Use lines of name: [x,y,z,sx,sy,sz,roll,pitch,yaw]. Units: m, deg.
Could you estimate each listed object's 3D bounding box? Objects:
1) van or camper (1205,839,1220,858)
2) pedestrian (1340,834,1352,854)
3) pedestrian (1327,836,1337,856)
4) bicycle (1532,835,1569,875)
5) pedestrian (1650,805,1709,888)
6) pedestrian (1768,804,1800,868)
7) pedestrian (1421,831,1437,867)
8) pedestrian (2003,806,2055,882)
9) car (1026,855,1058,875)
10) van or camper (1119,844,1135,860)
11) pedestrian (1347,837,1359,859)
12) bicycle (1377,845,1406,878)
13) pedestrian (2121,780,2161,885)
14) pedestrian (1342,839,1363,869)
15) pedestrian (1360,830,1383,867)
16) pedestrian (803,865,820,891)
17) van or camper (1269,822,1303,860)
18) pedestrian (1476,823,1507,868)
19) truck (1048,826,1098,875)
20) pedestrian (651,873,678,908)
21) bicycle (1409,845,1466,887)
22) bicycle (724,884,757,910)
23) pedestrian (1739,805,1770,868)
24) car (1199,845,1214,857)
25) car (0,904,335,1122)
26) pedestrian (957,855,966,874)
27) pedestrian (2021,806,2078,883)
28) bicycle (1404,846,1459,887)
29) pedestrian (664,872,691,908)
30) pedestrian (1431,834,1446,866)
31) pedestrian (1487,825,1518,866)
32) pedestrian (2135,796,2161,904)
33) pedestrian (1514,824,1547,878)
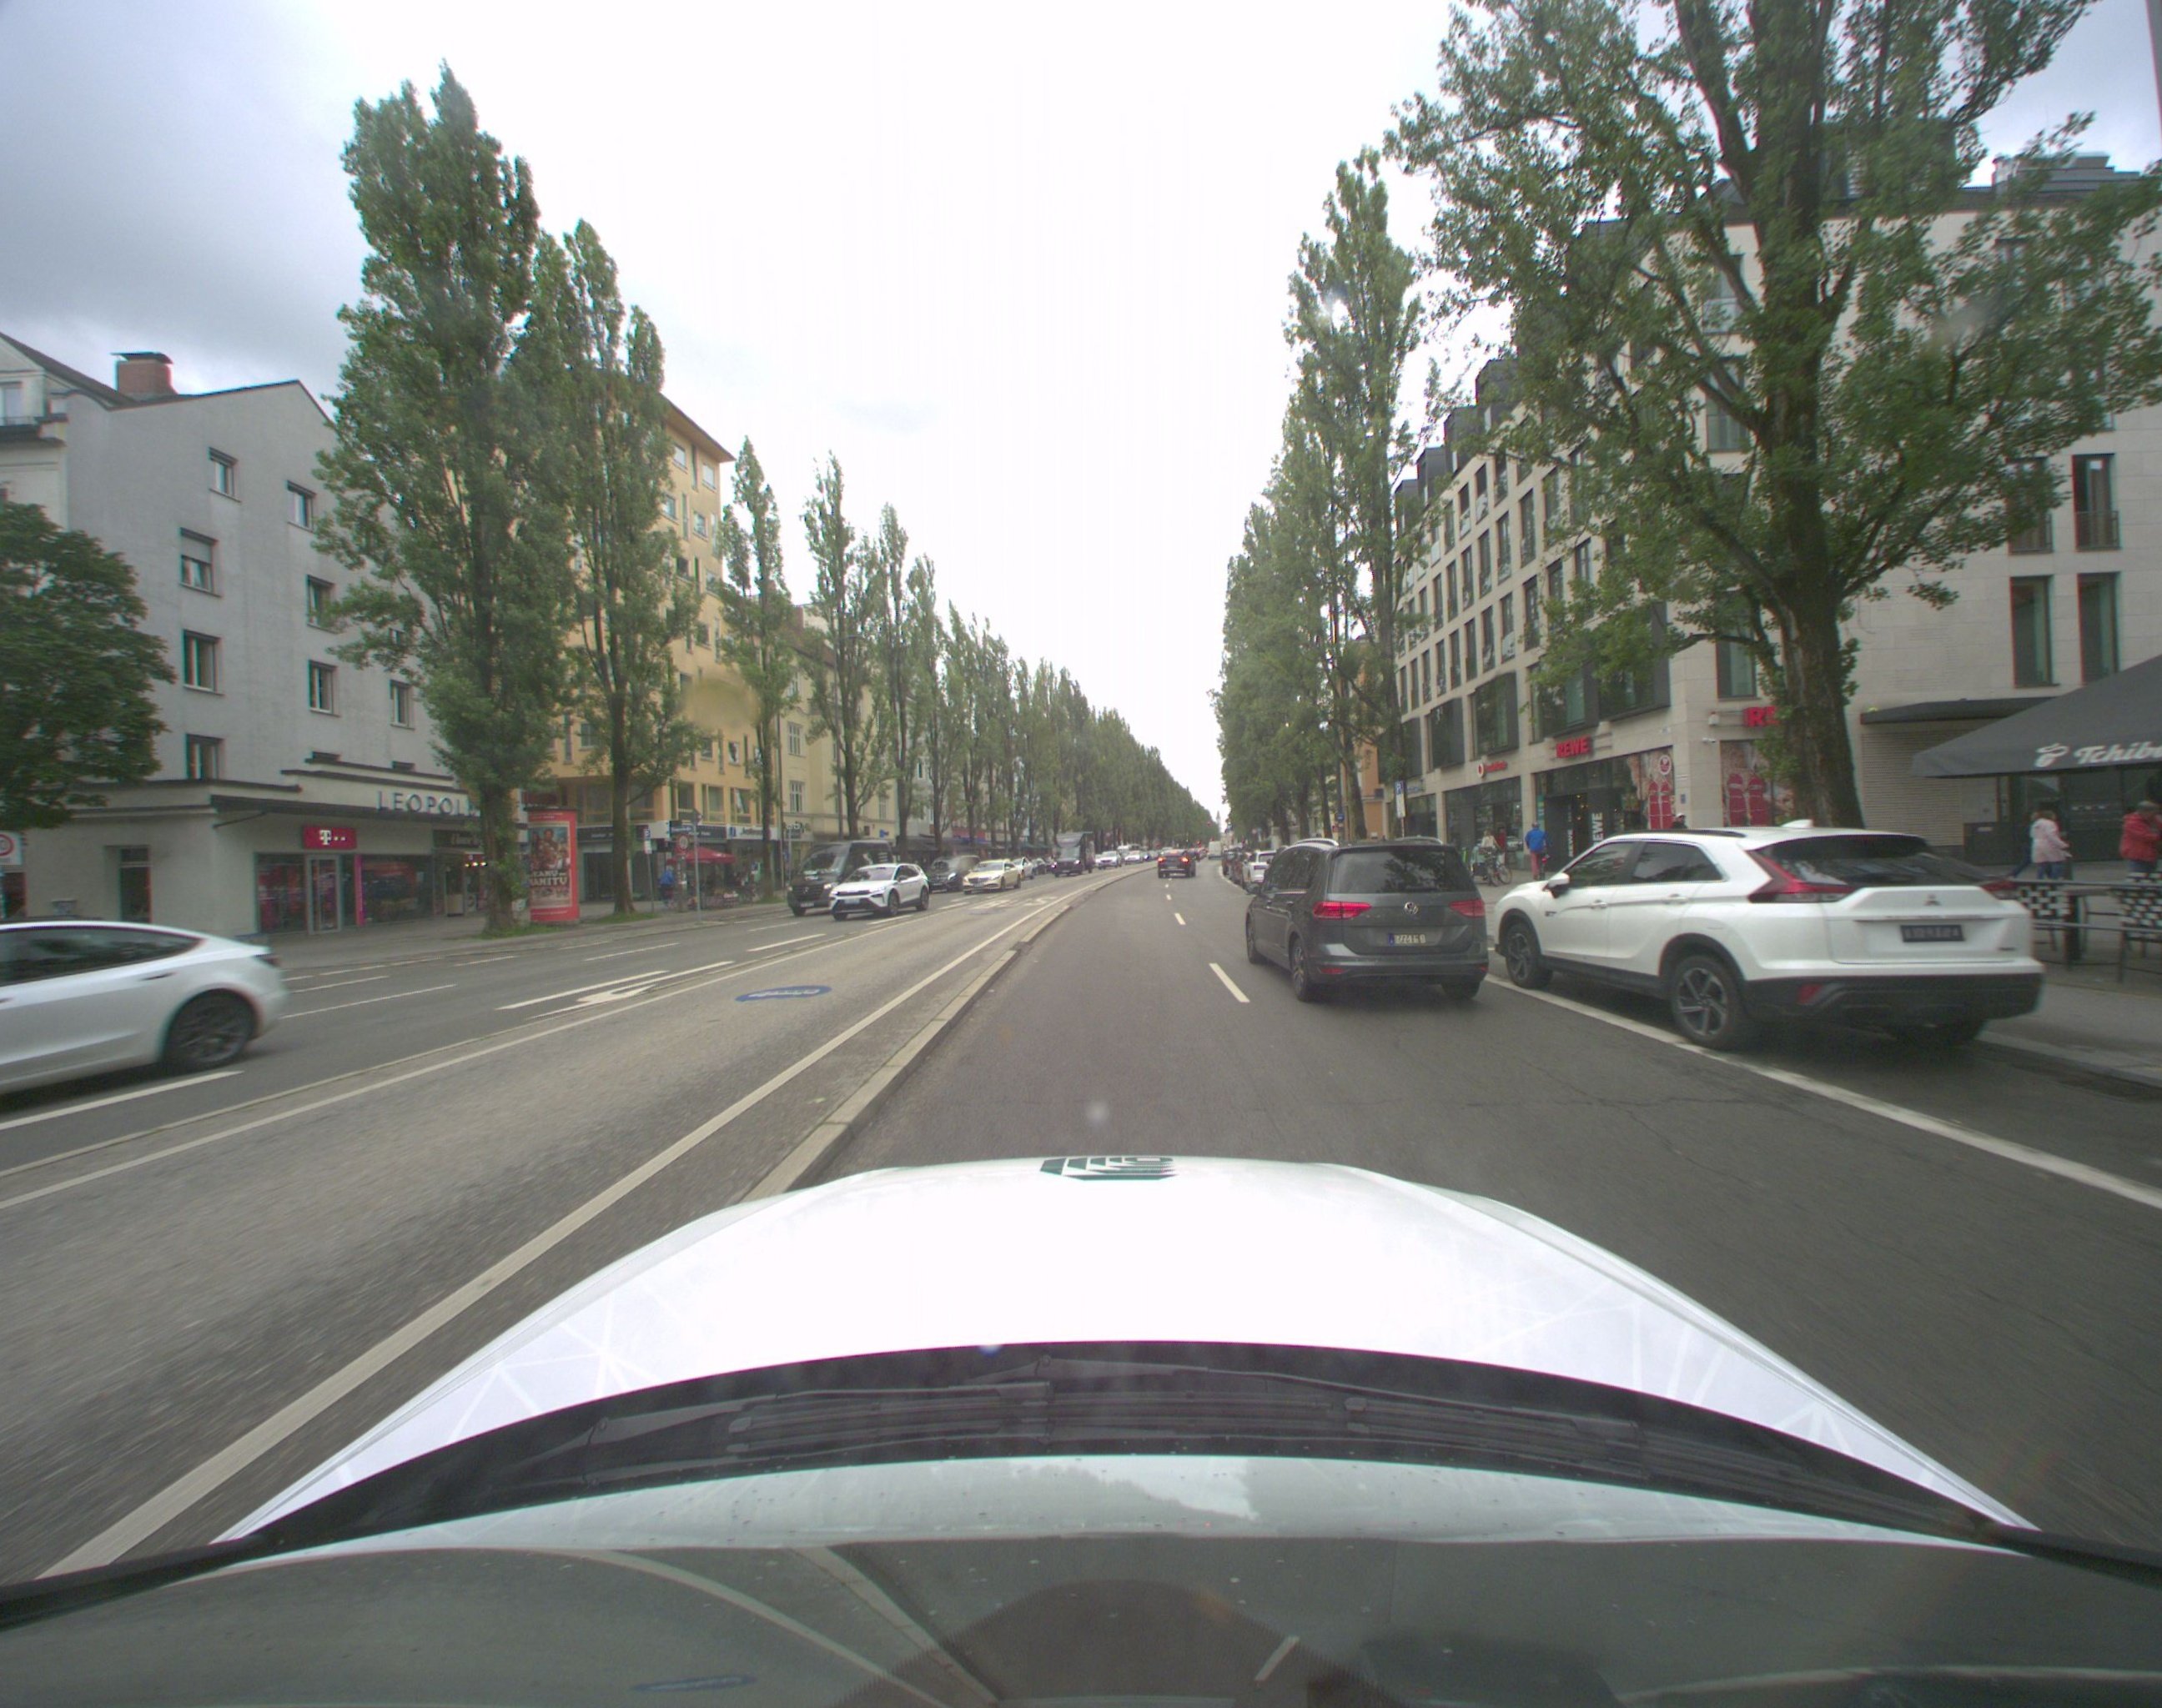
van or camper: [18.800,-0.739,116.291,2.022,2.475,4.011,-3,-1,10]
pedestrian: [21.778,-0.826,66.896,0.815,1.613,0.782,-3,0,13]
pedestrian: [20.767,-0.675,67.420,0.668,1.613,0.642,-3,0,13]
bicycle: [14.584,0.026,25.355,0.447,1.172,1.774,-3,0,13]
pedestrian: [14.386,-0.184,19.588,0.644,1.924,0.926,-4,0,2]
pedestrian: [19.684,-0.493,22.802,0.465,1.751,0.428,-3,0,6]
pedestrian: [16.324,-0.245,38.196,0.544,1.638,0.562,-3,0,34]
pedestrian: [20.648,-0.213,17.742,0.502,1.624,0.502,-1,-1,14]
car: [-3.497,0.939,73.407,1.850,1.629,4.180,-3,0,10]
van or camper: [7.303,-0.290,129.863,1.981,2.458,4.263,-3,0,10]
pedestrian: [20.204,-0.460,60.406,0.724,1.626,0.809,-3,0,20]
bicycle: [12.002,0.268,31.452,0.540,1.189,1.464,-3,0,39]
pedestrian: [16.866,-0.330,12.856,0.551,1.624,0.501,-1,-1,-37]
pedestrian: [15.193,-0.003,45.616,0.831,1.576,0.939,-3,0,2]
pedestrian: [14.873,-0.280,41.663,0.813,1.869,0.940,-4,0,6]
pedestrian: [-17.129,1.509,51.823,0.629,1.561,0.818,-3,0,11]
van or camper: [17.723,-1.119,70.627,2.444,3.112,4.730,-3,0,11]
pedestrian: [16.531,-0.345,32.831,0.795,1.772,0.678,-3,0,-14]
truck: [-0.500,-0.277,61.069,2.277,3.322,7.177,-4,0,10]
pedestrian: [-19.785,1.711,38.686,0.835,1.625,0.765,-1,-1,8]
bicycle: [11.109,0.379,25.380,1.473,1.207,0.536,-3,0,1]
bicycle: [-14.718,1.853,35.239,0.456,0.964,1.882,-3,0,3]
pedestrian: [18.997,-0.477,22.989,0.427,1.751,0.465,-3,0,-23]
car: [19.573,-0.435,126.987,1.980,1.717,4.014,-3,0,12]
car: [-8.650,1.266,5.964,1.791,1.394,4.695,-3,0,4]
pedestrian: [-11.597,1.029,79.109,0.634,1.862,0.650,-3,0,10]
pedestrian: [20.422,-0.188,17.180,0.502,1.580,0.554,-1,-1,14]
bicycle: [11.147,0.404,25.922,1.473,1.207,0.536,-3,0,1]
pedestrian: [-18.935,1.689,38.217,0.835,1.625,0.765,-1,-1,8]
pedestrian: [16.883,-0.194,38.436,0.497,1.491,0.551,-3,0,35]
pedestrian: [17.343,-0.337,33.527,0.795,1.621,0.714,-3,0,-14]
pedestrian: [16.470,-0.064,12.240,0.543,1.624,0.509,-1,-1,16]
pedestrian: [14.013,-0.095,25.391,0.606,1.619,0.797,-4,0,13]
